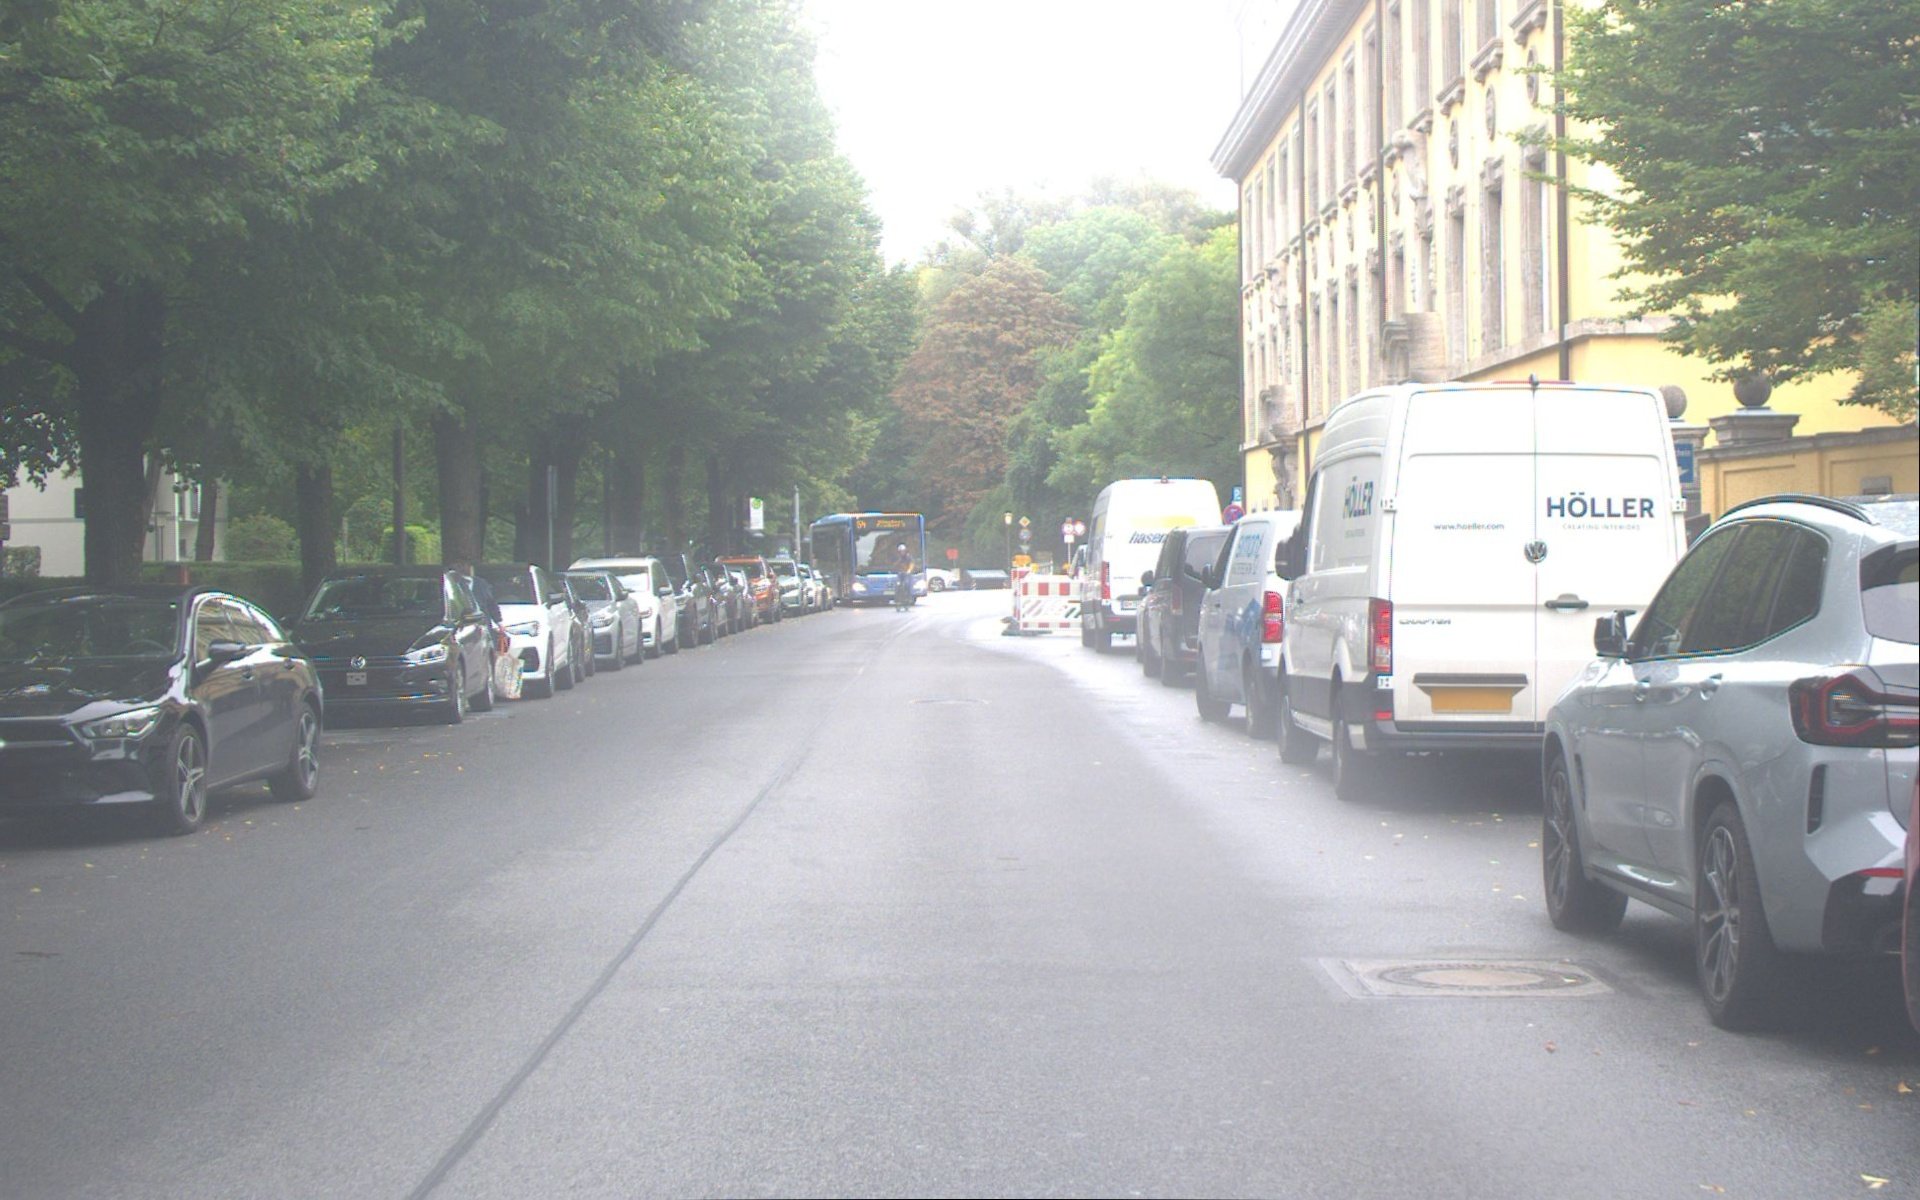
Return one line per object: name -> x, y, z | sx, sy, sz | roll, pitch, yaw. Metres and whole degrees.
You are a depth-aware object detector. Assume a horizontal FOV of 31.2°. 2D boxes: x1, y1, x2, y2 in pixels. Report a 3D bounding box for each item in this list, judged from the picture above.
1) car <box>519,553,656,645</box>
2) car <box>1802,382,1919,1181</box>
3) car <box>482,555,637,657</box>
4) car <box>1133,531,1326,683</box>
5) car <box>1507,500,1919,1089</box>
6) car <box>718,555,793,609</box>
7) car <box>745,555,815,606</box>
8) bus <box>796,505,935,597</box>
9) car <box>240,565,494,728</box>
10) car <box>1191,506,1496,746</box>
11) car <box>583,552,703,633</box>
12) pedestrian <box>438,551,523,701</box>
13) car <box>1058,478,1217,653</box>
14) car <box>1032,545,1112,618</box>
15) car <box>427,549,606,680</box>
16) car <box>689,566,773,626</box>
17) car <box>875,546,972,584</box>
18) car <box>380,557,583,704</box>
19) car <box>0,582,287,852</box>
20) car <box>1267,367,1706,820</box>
car -> -6.061, -0.043, 56.325 | 1.993, 1.415, 4.001 | -1, 1, -3
car -> 3.323, 0.451, 6.805 | 1.911, 1.930, 4.970 | -1, 1, -2
car -> -5.854, 0.059, 50.647 | 1.993, 1.415, 4.001 | -1, 1, -3
car -> 3.126, 0.047, 40.533 | 1.794, 1.673, 4.000 | -1, 1, -2
car -> 3.274, 0.488, 11.836 | 1.993, 1.629, 4.564 | -1, 1, 0
car -> -5.599, -0.513, 94.513 | 1.993, 1.415, 4.001 | -1, 1, -3
car -> -5.246, -0.578, 100.183 | 1.993, 1.415, 4.001 | -1, 1, -3
bus -> -3.195, -1.607, 113.729 | 2.936, 2.909, 8.242 | -1, 1, -13
car -> -5.847, 0.415, 34.348 | 1.993, 1.481, 4.130 | -1, 1, -3
car -> 3.195, 0.175, 29.403 | 1.993, 1.876, 4.000 | -1, 1, -2
car -> -5.762, -0.163, 62.843 | 1.993, 1.415, 4.001 | -1, 1, -3
pedestrian -> -5.186, 0.272, 37.195 | 0.883, 1.592, 0.823 | -1, 1, -7
car -> 2.738, -0.556, 54.049 | 1.839, 2.613, 4.385 | -1, 1, -5
car -> 2.806, -0.472, 85.305 | 1.805, 1.730, 4.000 | -1, 1, 4
car -> -5.781, 0.154, 45.212 | 1.993, 1.614, 4.130 | -1, 1, -3
car -> -5.669, -0.114, 85.454 | 1.993, 1.415, 4.001 | -1, 1, -3
car -> -1.547, -1.474, 143.977 | 3.986, 1.541, 2.000 | 0, 1, -2
car -> -5.602, 0.313, 40.699 | 1.993, 1.614, 4.130 | -1, 1, -3
car -> -5.367, 0.630, 20.719 | 1.993, 1.415, 4.130 | -1, 1, -3
car -> 3.244, -0.079, 22.322 | 1.993, 2.549, 5.430 | -1, 1, 0
